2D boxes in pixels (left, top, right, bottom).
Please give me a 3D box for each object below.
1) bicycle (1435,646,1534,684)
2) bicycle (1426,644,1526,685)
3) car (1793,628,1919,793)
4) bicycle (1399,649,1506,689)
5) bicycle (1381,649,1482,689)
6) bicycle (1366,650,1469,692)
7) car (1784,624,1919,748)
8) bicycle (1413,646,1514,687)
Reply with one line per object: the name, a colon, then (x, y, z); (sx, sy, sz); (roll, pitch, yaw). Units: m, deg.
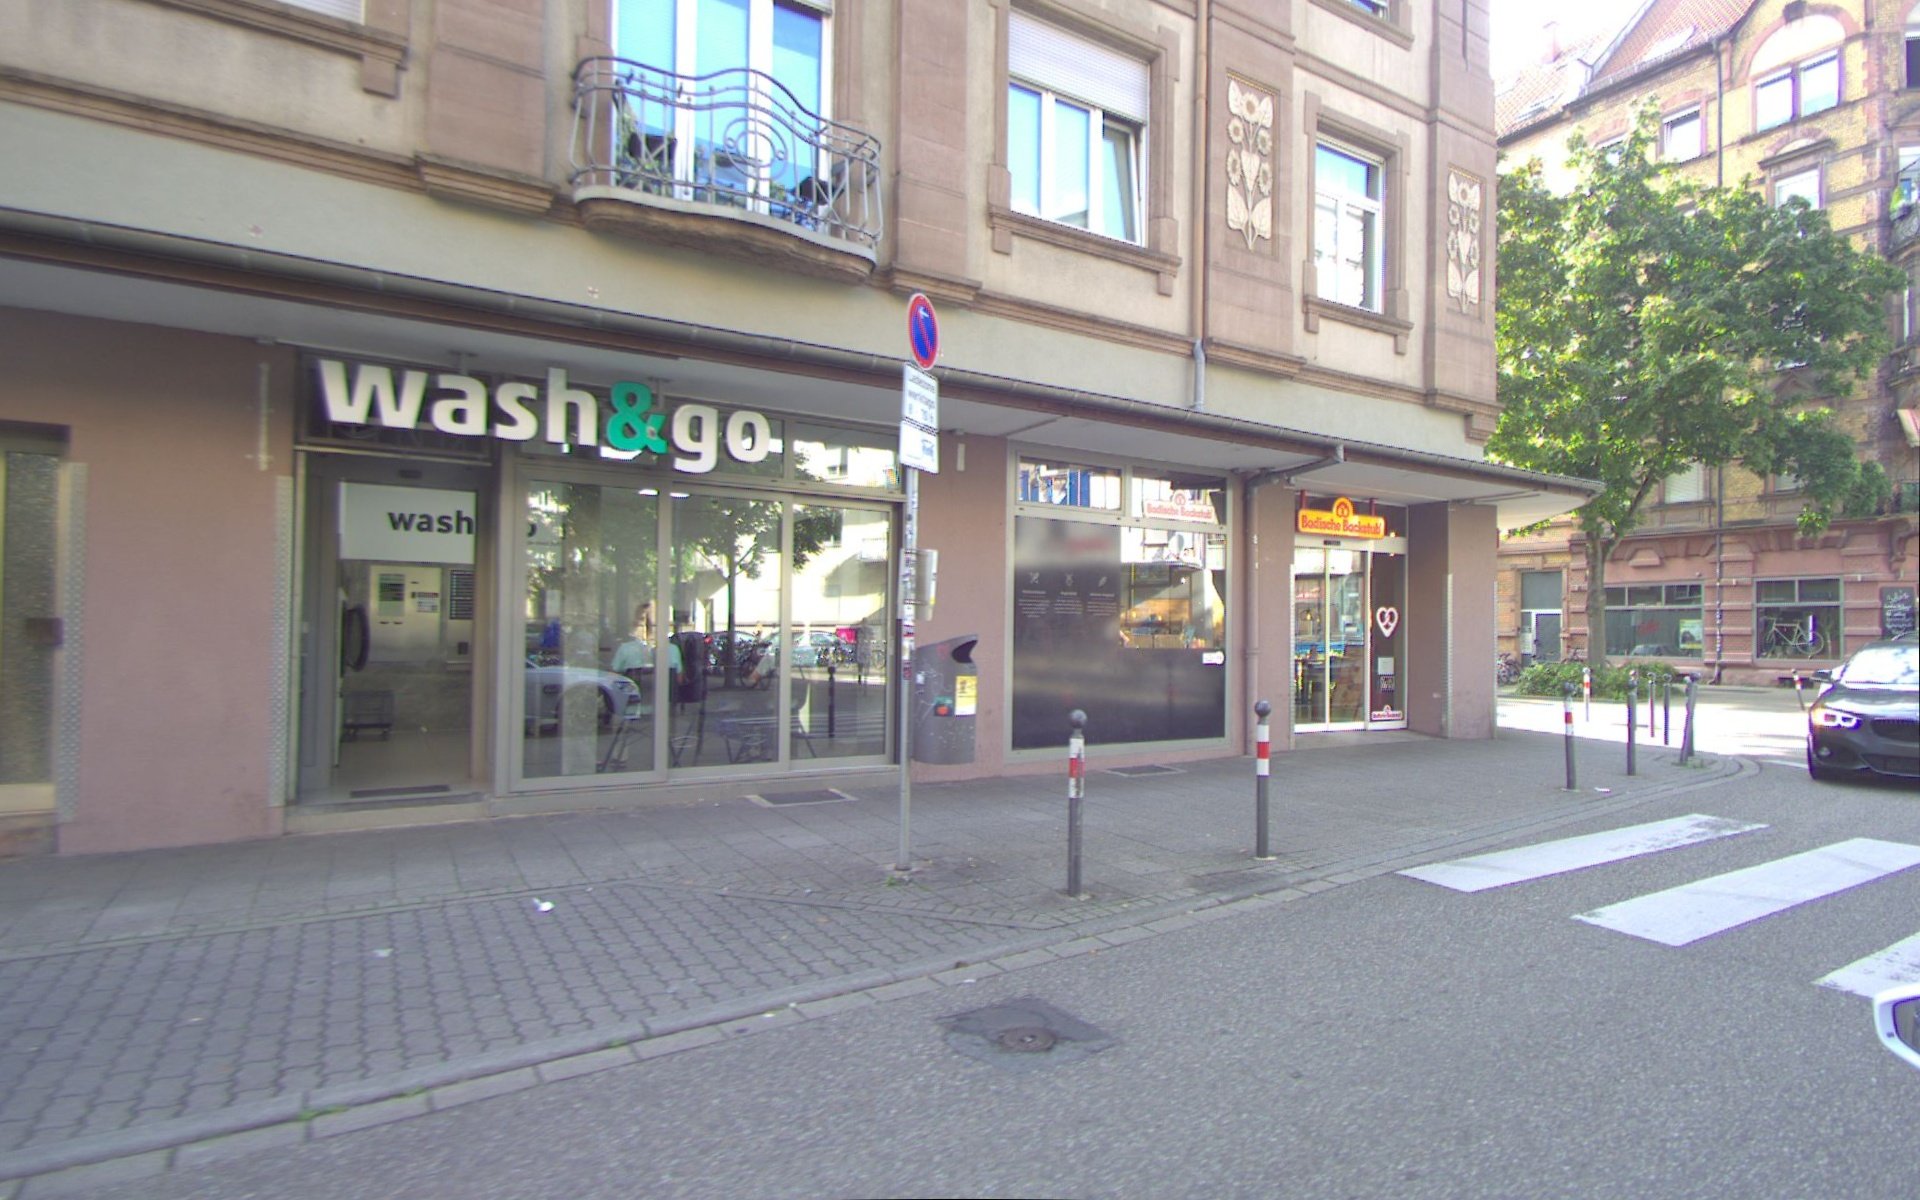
bicycle: (16.753, 2.053, 32.176); (0.626, 1.138, 2.878); (1, -2, -34)
bicycle: (16.249, 2.014, 31.741); (0.626, 1.213, 2.878); (1, -2, -34)
car: (10.132, 1.081, 10.465); (4.182, 1.455, 1.733); (3, -2, -43)
bicycle: (15.100, 2.098, 30.912); (0.626, 1.138, 3.077); (1, -2, -34)
bicycle: (14.272, 2.063, 30.521); (0.626, 1.138, 2.878); (1, -2, -34)
bicycle: (13.692, 2.105, 30.173); (0.719, 1.138, 2.878); (1, -2, -34)
car: (15.652, 1.249, 15.838); (4.776, 1.744, 1.940); (-1, -2, -21)
bicycle: (15.650, 2.037, 31.323); (0.626, 1.206, 2.878); (1, -2, -34)
